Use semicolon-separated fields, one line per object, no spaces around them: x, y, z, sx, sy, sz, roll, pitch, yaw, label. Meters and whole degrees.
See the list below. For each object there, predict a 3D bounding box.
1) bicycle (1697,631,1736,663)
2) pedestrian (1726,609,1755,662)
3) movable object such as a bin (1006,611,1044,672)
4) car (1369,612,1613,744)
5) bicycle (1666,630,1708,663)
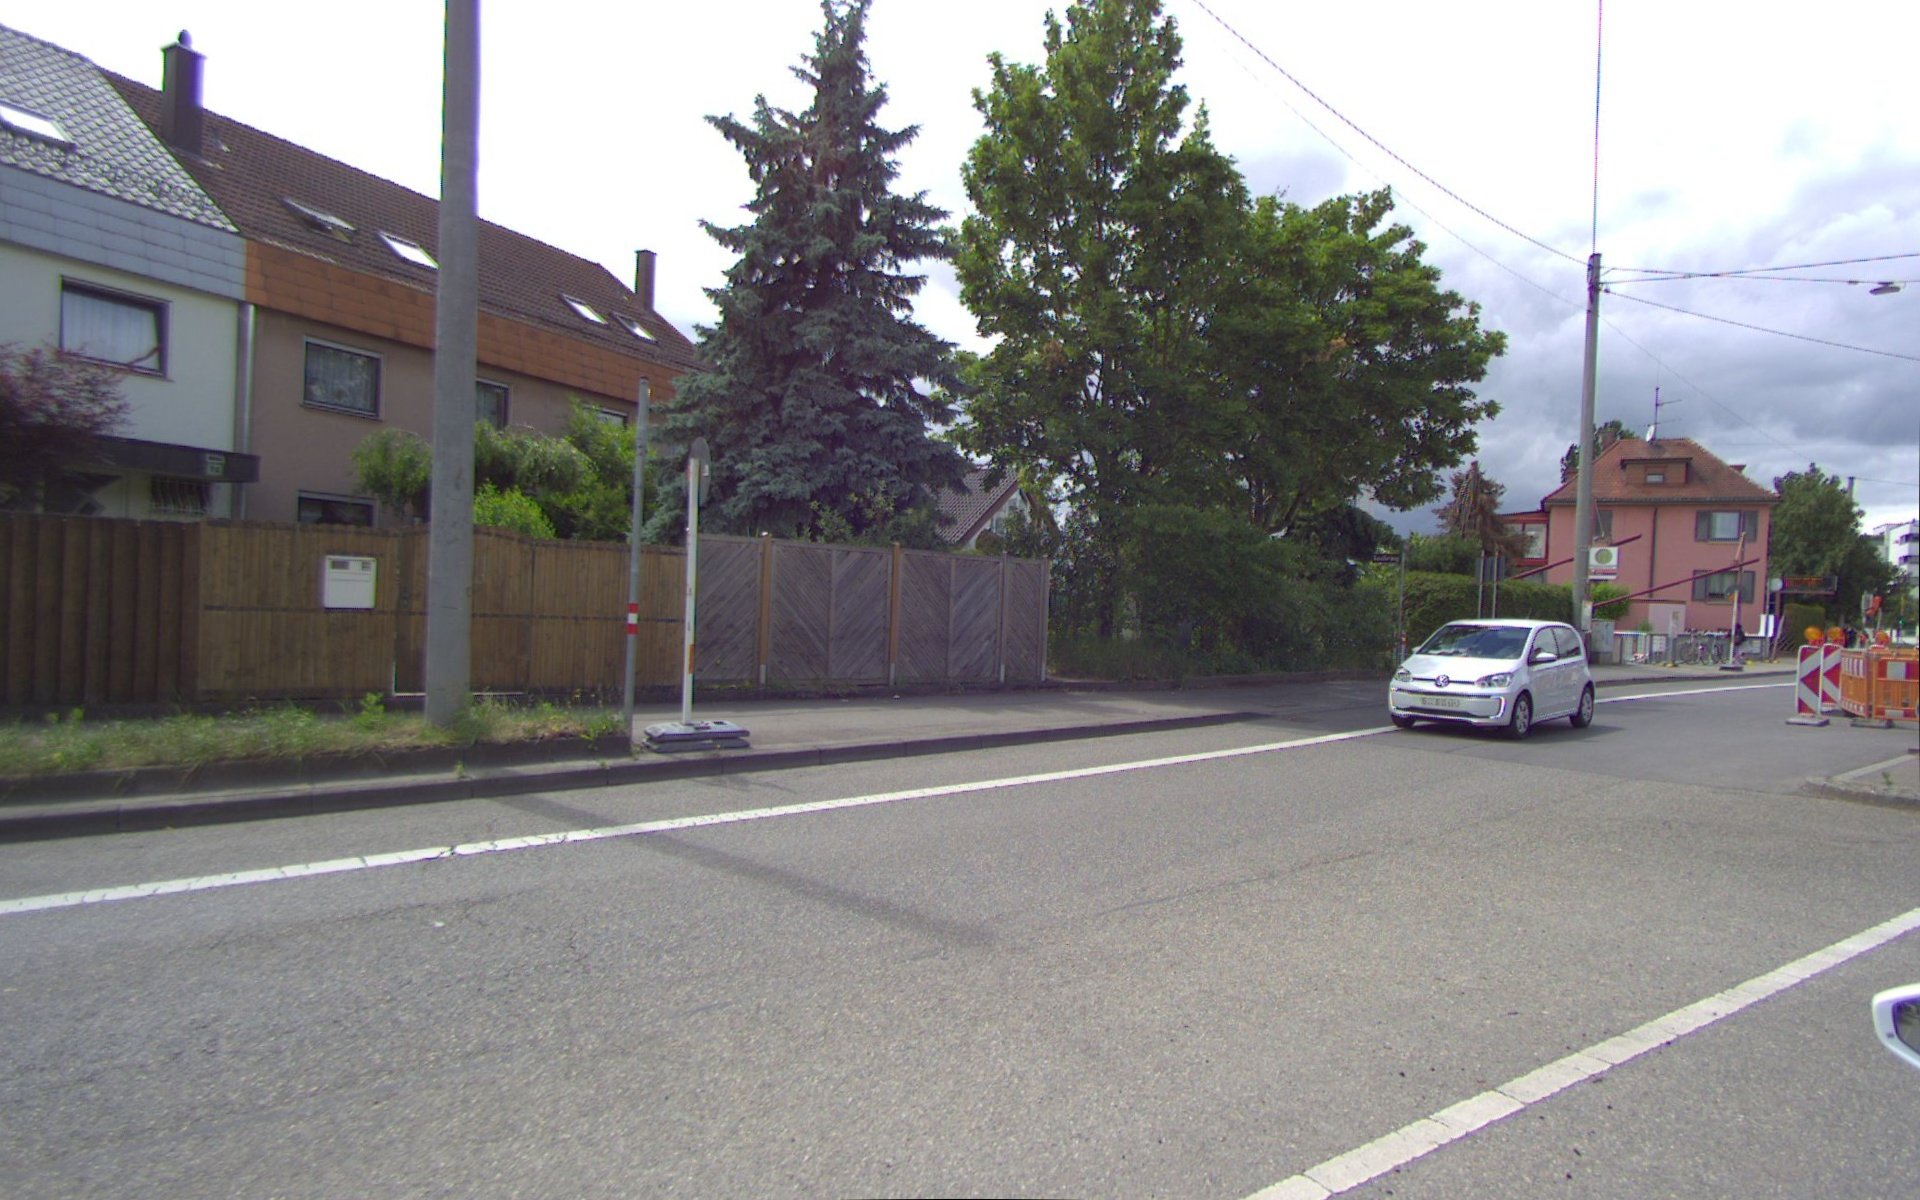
26.972;1.658;35.802;2.111;1.097;0.534;2;0;-36;bicycle
28.484;1.300;36.665;0.580;1.911;0.674;2;0;-38;pedestrian
1.090;0.691;16.768;0.367;0.991;0.545;1;0;41;movable object such as a bin
7.398;0.985;13.842;3.970;1.533;1.678;2;-1;-42;car
24.738;1.580;34.175;2.111;1.097;0.534;2;0;-36;bicycle
